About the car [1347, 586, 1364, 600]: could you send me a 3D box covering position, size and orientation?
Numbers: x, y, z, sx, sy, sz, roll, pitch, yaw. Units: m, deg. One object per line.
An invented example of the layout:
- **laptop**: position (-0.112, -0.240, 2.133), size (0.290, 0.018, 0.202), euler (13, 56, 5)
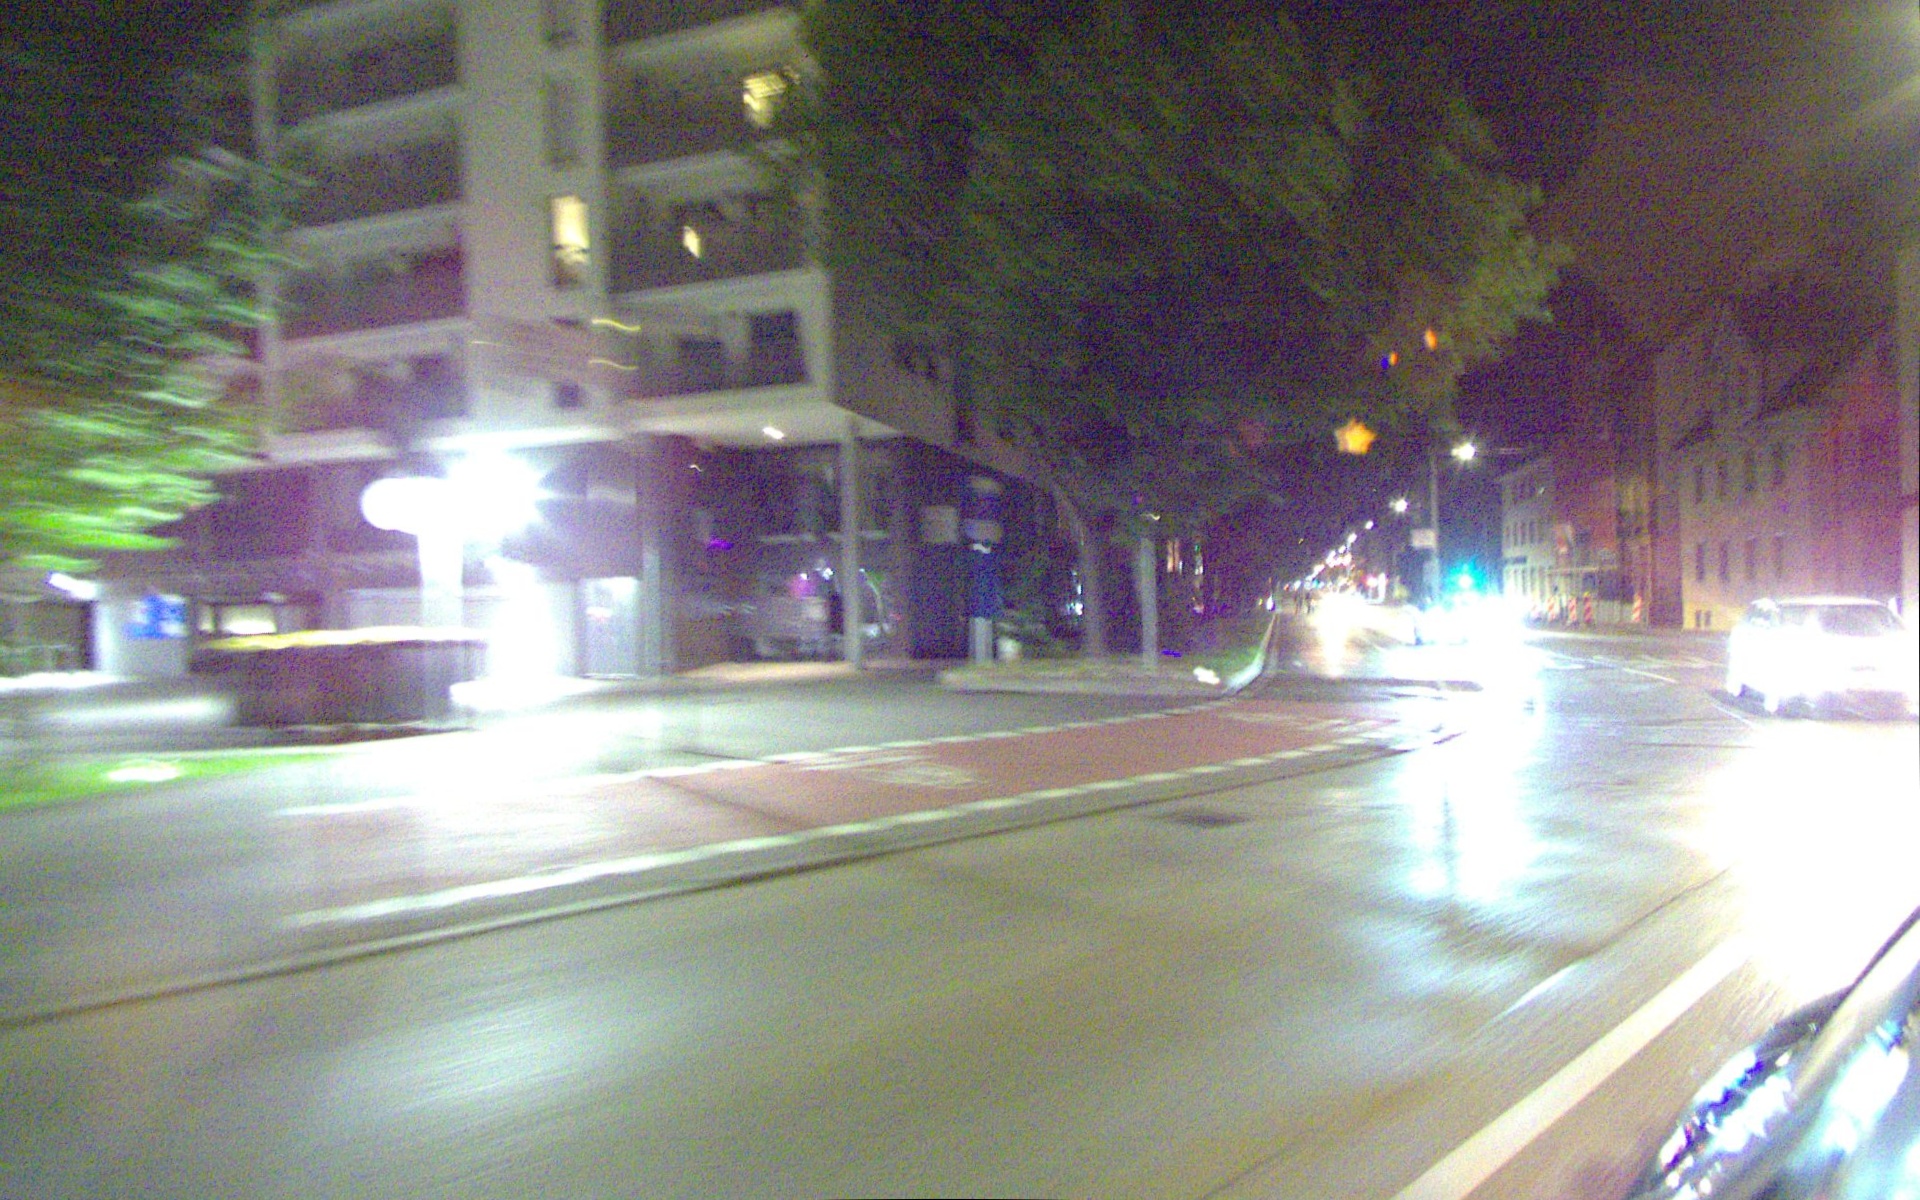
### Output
- **car**: position (49.822, -0.885, 127.528), size (1.976, 1.656, 3.972), euler (0, 0, 21)

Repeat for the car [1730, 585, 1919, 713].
- **car**: position (11.668, 0.554, 13.492), size (1.620, 1.456, 3.802), euler (-1, 0, 28)

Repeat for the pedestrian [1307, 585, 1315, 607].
- **pedestrian**: position (29.468, -0.333, 85.065), size (0.615, 1.834, 0.754), euler (0, 0, 19)

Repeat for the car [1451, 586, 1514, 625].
- **car**: position (21.984, 0.194, 42.722), size (1.707, 1.481, 3.979), euler (0, 1, 17)

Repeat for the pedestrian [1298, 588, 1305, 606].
- **pedestrian**: position (29.047, -0.261, 86.101), size (0.567, 1.553, 0.630), euler (0, 0, 19)

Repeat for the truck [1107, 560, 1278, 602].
- **truck**: position (23.365, -1.833, 102.103), size (16.614, 4.033, 3.113), euler (0, 1, 19)

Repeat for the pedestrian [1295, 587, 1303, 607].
- **pedestrian**: position (28.515, -0.257, 85.029), size (0.615, 1.659, 0.675), euler (0, 0, 19)

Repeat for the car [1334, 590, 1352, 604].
- **car**: position (37.429, -0.318, 98.892), size (1.601, 1.282, 3.602), euler (-2, 0, 21)

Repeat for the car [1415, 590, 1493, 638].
- **car**: position (16.482, 0.414, 33.943), size (1.707, 1.448, 4.472), euler (-2, 0, 18)
